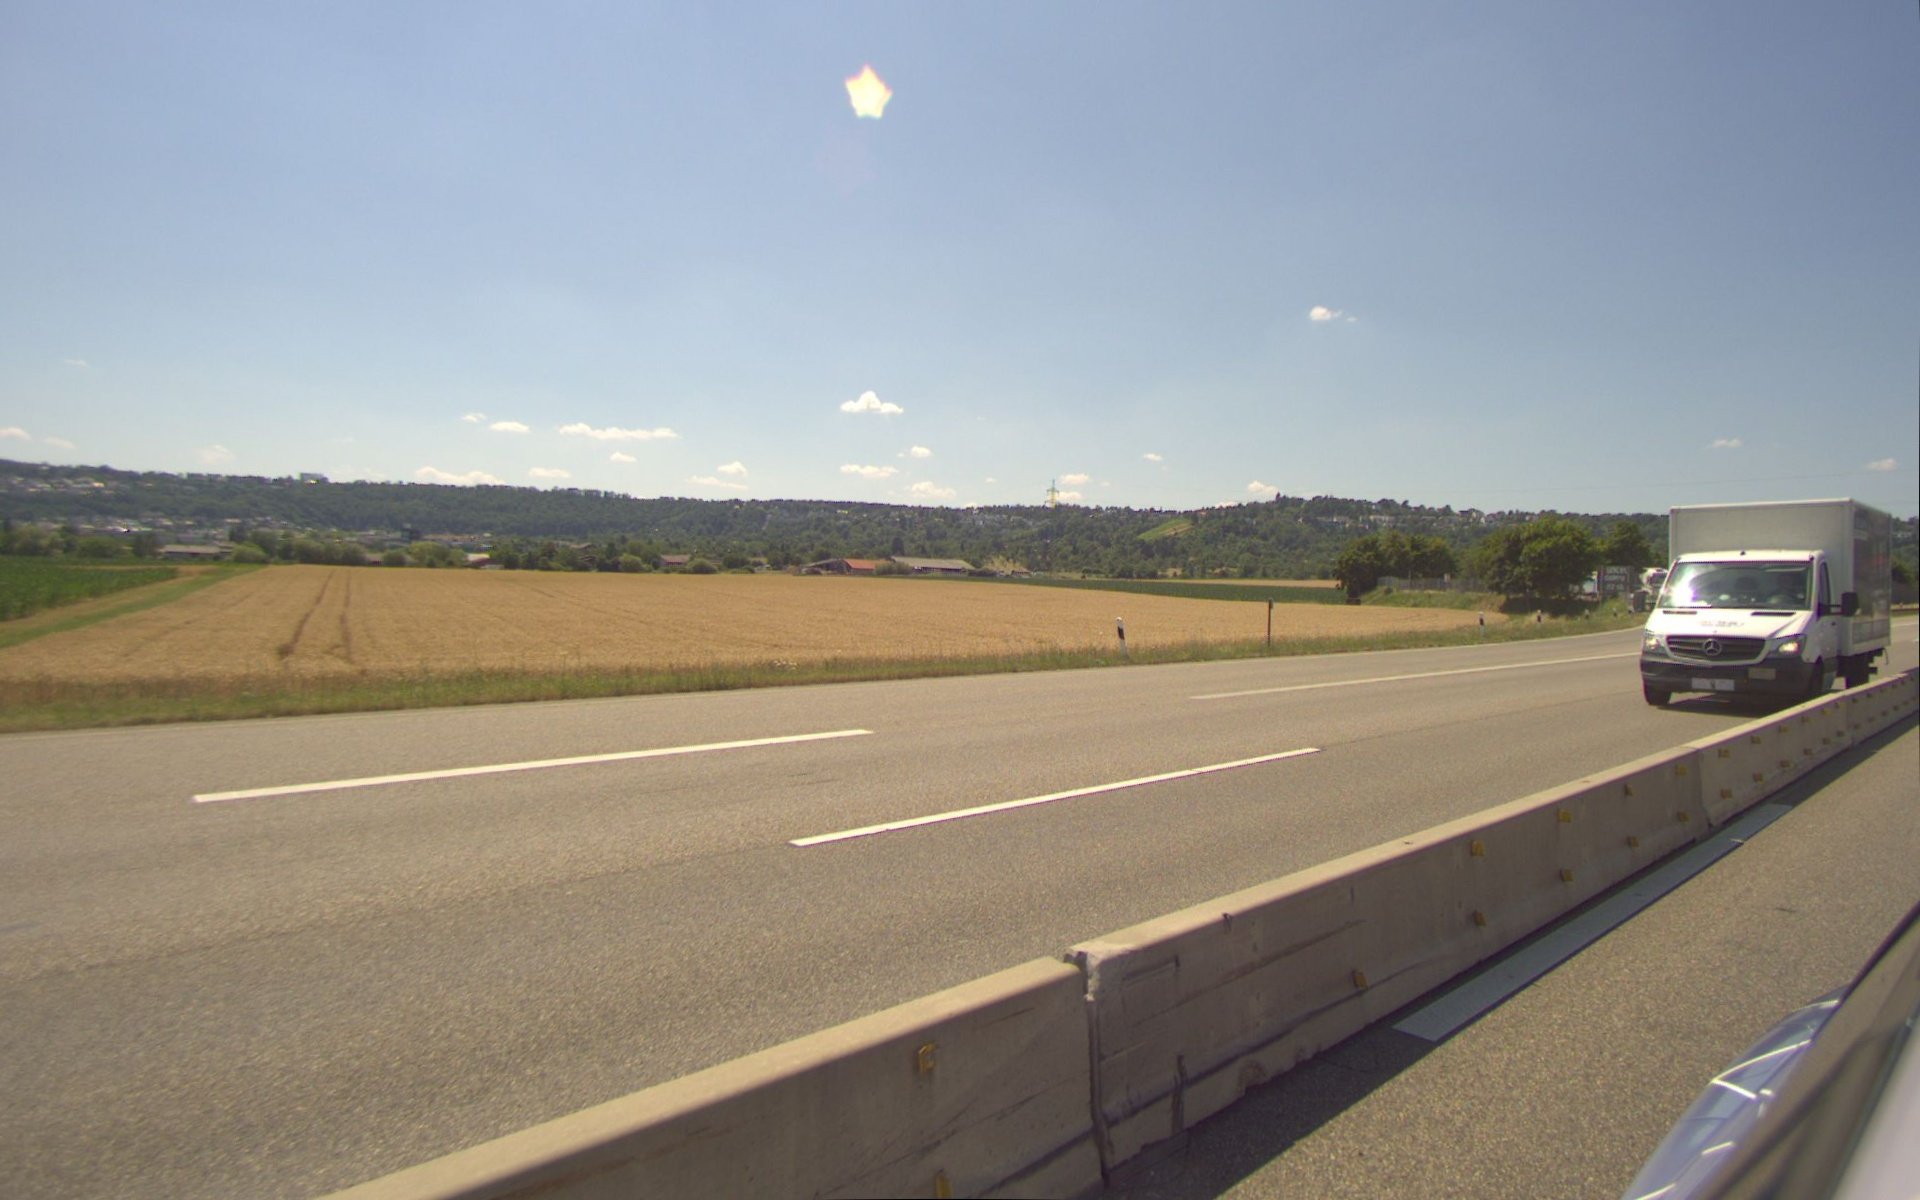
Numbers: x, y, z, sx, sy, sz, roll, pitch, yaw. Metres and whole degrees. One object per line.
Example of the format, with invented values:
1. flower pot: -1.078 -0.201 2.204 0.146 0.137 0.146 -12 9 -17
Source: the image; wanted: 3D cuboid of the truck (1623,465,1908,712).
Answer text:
1. truck: 12.766 -0.109 15.803 6.632 3.106 2.325 1 -1 -41
